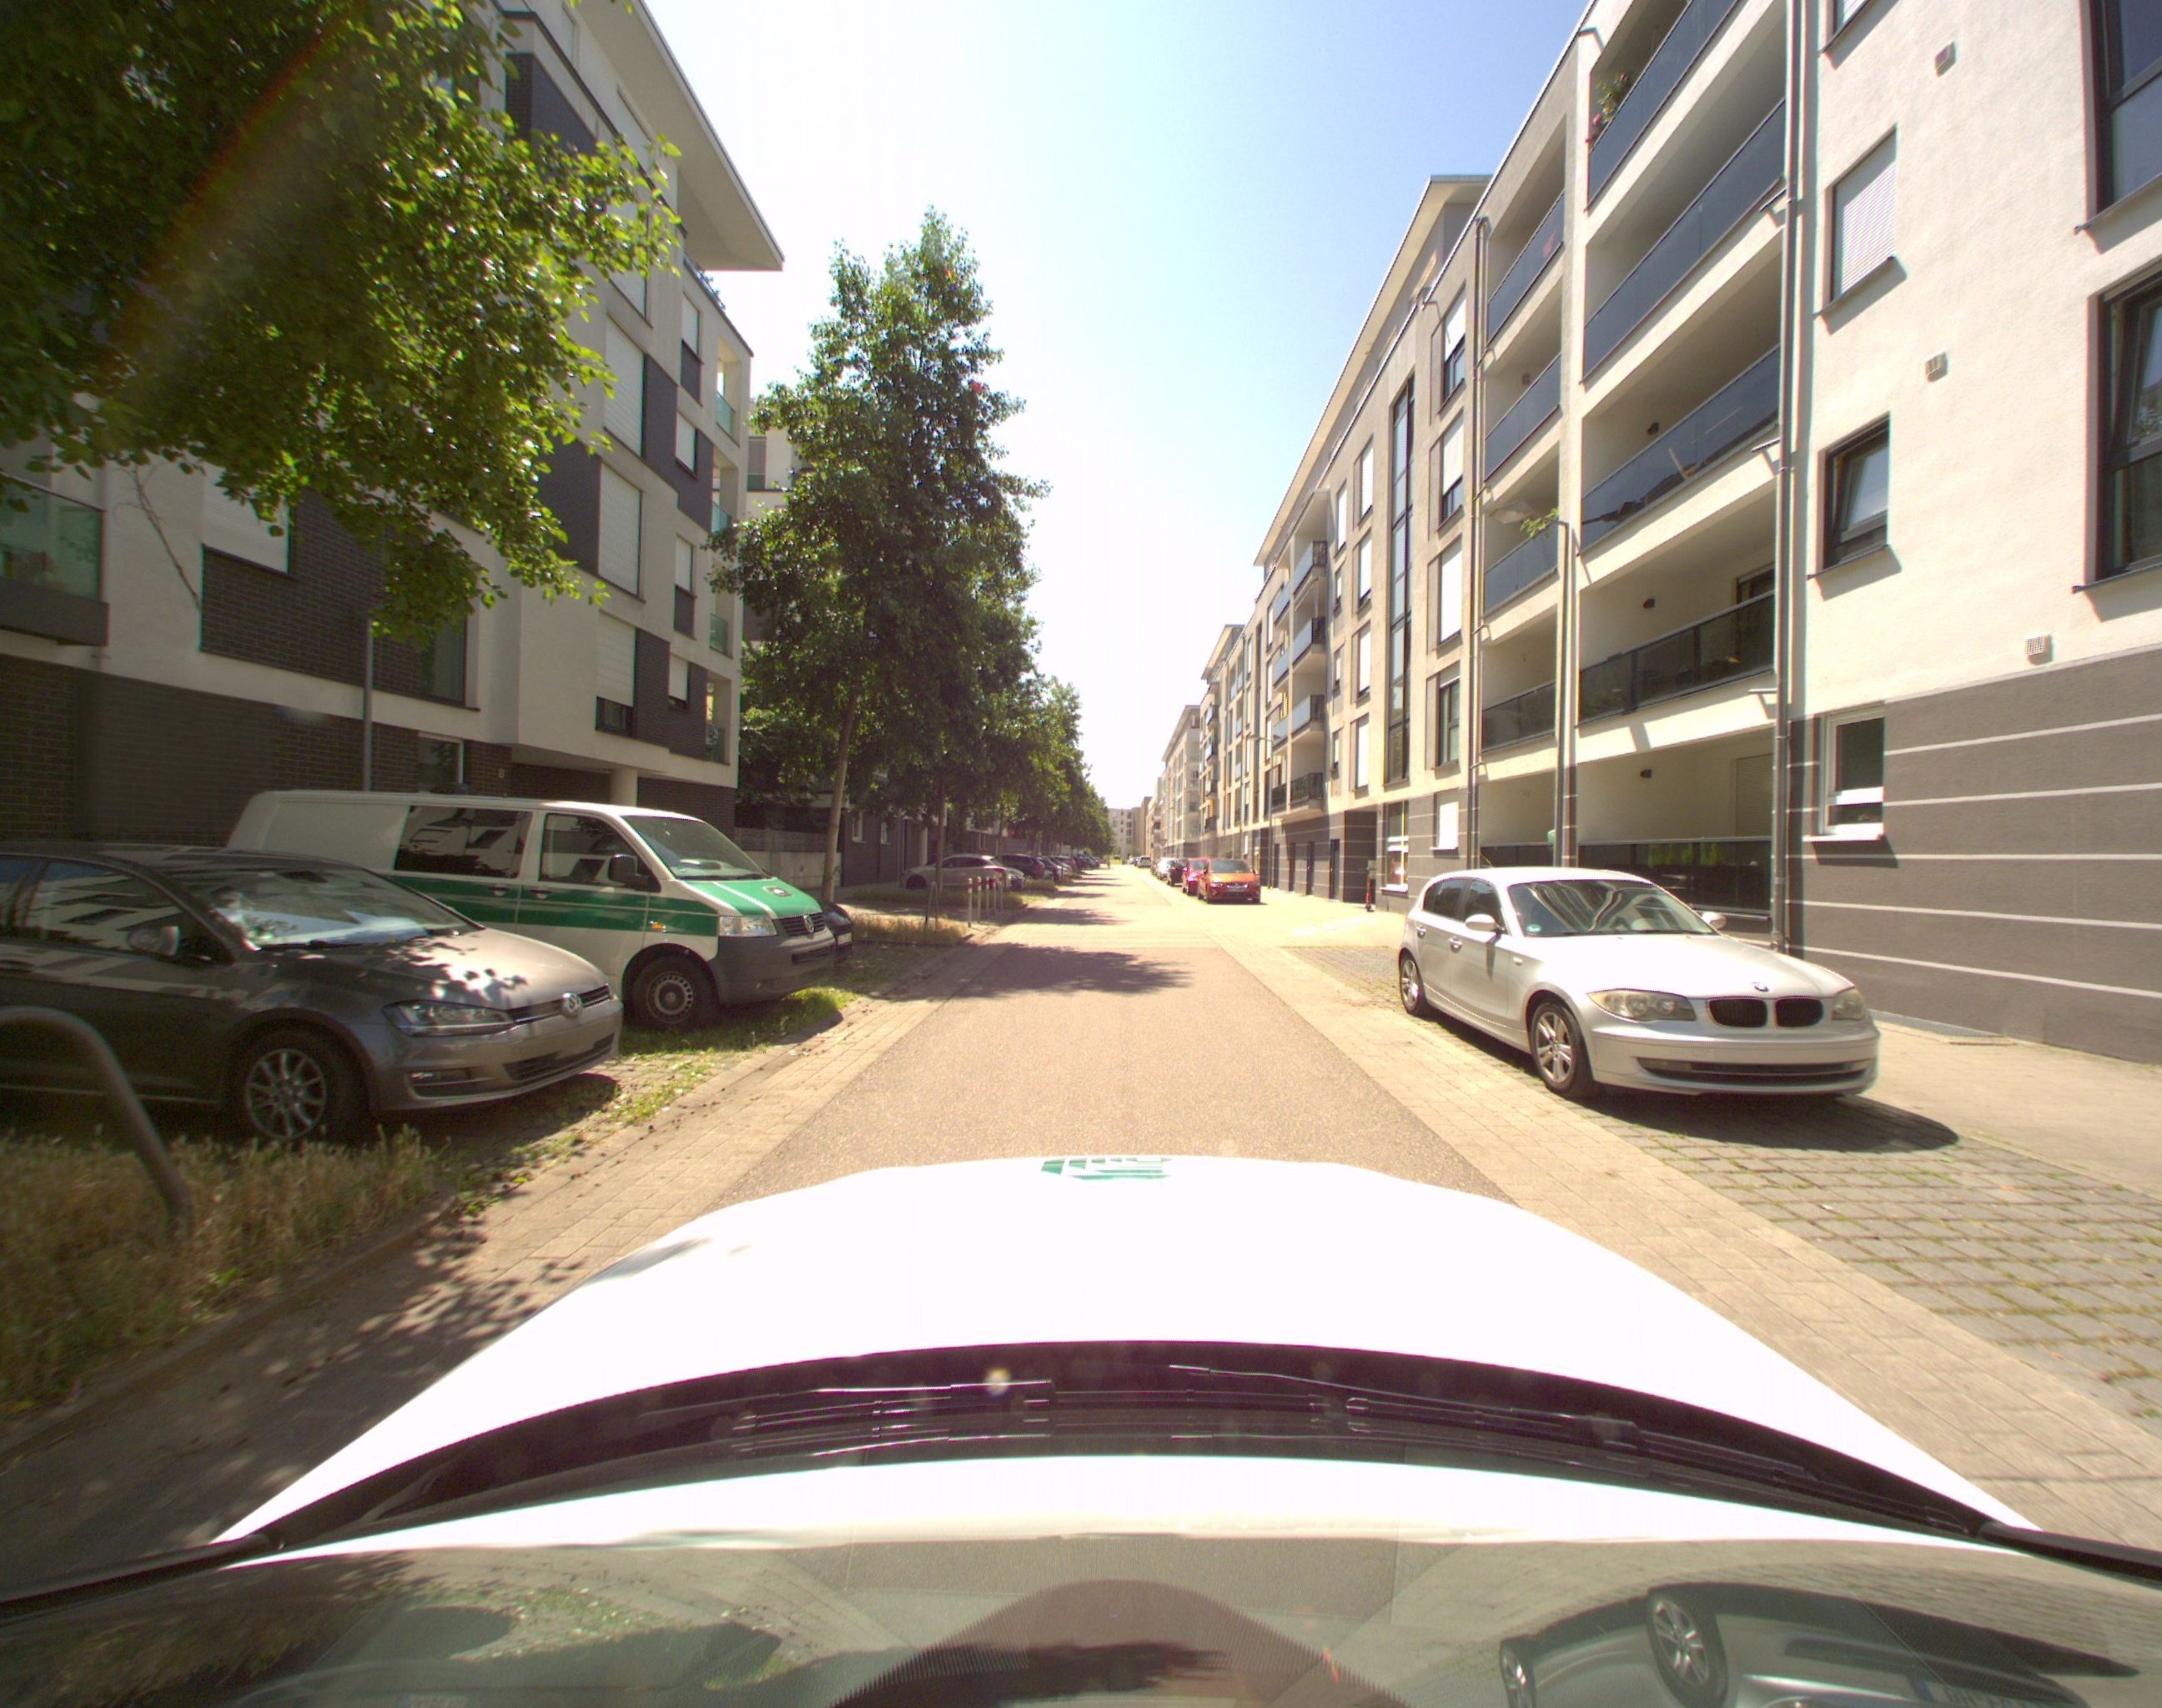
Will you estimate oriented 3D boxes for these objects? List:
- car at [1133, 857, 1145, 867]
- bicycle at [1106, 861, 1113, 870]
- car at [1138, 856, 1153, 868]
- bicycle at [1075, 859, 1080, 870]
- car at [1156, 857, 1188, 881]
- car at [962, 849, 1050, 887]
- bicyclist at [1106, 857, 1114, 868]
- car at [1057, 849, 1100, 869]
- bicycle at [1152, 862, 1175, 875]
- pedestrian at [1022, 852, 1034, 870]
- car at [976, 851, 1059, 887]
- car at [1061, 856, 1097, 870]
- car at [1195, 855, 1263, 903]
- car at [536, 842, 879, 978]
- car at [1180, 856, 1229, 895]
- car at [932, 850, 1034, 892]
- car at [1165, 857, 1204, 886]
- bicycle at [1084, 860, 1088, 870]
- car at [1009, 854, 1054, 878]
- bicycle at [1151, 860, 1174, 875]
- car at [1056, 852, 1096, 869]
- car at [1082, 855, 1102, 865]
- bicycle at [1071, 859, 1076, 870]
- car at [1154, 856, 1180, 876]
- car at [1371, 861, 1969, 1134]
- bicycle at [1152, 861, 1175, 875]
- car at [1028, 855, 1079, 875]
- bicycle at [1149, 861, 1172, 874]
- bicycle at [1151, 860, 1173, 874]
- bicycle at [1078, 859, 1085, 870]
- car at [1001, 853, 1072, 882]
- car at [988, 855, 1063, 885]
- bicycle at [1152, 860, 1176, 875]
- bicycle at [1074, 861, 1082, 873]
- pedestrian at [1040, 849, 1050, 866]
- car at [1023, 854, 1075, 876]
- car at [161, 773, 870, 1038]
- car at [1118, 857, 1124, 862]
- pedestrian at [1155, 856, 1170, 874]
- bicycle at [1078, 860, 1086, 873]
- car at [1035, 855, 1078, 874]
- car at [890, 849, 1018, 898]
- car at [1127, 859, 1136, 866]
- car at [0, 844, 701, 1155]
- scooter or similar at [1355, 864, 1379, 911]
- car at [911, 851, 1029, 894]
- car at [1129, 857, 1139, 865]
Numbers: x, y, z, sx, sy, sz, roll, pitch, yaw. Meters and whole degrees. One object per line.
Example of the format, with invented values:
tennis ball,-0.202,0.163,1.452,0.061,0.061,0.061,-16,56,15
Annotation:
car,9.294,1.275,130.274,1.749,1.552,4.006,1,0,6
bicycle,3.783,1.500,106.633,0.895,1.129,2.041,1,0,2
car,8.715,1.074,110.161,1.989,1.657,4.118,0,0,3
bicycle,-0.413,1.199,93.153,0.432,1.204,1.701,2,1,3
car,6.050,0.952,54.424,1.826,1.505,4.353,-1,0,3
car,-3.615,0.673,39.613,3.971,1.629,1.934,2,0,2
bicyclist,3.784,1.062,106.600,0.950,1.459,0.800,1,0,2
car,-0.273,0.726,115.913,6.000,2.816,2.606,0,0,2
bicycle,6.865,1.187,67.815,1.918,1.035,0.559,0,-1,-2
pedestrian,-5.094,0.677,78.092,0.995,1.690,0.833,0,-1,4
car,-3.252,0.752,42.129,3.969,1.651,1.920,2,0,4
car,-0.228,1.123,103.275,4.366,1.515,2.076,3,0,2
car,4.959,0.805,27.737,1.730,1.487,4.261,-1,0,3
car,-4.683,0.672,10.588,3.610,1.481,1.678,2,0,1
car,5.007,0.838,33.278,1.589,1.486,3.678,-1,0,3
car,-4.139,0.697,34.715,3.970,1.592,1.885,2,0,3
car,5.415,0.897,43.044,1.636,1.462,4.119,-1,0,2
bicycle,0.616,1.296,93.328,0.464,1.141,1.926,1,0,1
car,-3.446,0.797,57.232,2.922,1.500,1.849,3,0,1
bicycle,6.861,1.115,68.479,1.921,1.218,0.459,0,-1,-7
car,-0.654,0.904,110.487,5.125,2.119,2.313,2,0,2
car,2.436,1.238,174.727,3.964,2.014,2.005,1,0,9
bicycle,-0.864,1.184,93.422,0.517,1.204,1.752,2,1,1
car,6.612,0.931,62.734,1.732,1.485,4.232,0,0,3
car,3.934,0.779,6.576,1.838,1.416,4.430,1,0,3
bicycle,6.782,1.138,67.124,1.781,1.104,0.746,0,-1,-2
car,-2.250,0.903,67.260,4.169,1.486,1.957,2,-2,-1
bicycle,6.760,1.130,69.433,1.911,1.133,0.611,0,-1,11
bicycle,6.876,1.102,69.063,1.838,1.148,0.458,0,-1,-17
bicycle,0.018,1.235,93.131,0.569,1.174,1.766,4,1,-4
car,-2.797,0.840,51.784,4.346,1.710,2.000,-1,0,0
car,-3.021,0.868,44.767,3.963,1.445,1.774,2,-1,-2
bicycle,6.758,1.100,66.377,1.864,1.218,0.715,0,-1,-2
bicycle,-0.271,1.178,74.606,0.434,1.128,1.972,0,0,-9
pedestrian,-4.272,0.390,96.479,1.004,2.014,1.131,0,-1,5
car,-2.478,0.857,64.369,3.922,1.553,1.873,2,0,2
car,-5.020,0.400,7.807,5.318,2.111,2.190,0,0,4
car,12.947,1.694,262.373,1.986,1.519,4.001,1,0,1
pedestrian,6.869,0.924,68.608,1.177,1.515,0.686,0,-1,-8
bicycle,0.090,1.153,74.622,0.371,1.180,1.815,0,0,-9
car,-2.121,0.889,72.180,3.616,1.520,1.833,2,0,2
car,-4.550,0.688,29.716,4.236,1.517,1.925,3,0,2
car,12.746,2.059,206.021,1.986,1.717,4.001,1,0,1
car,-5.013,0.701,4.959,4.405,1.490,2.000,1,0,0
scooter or similar,8.010,0.916,22.826,0.541,1.225,1.536,1,0,17
car,-4.313,0.725,32.157,4.300,1.476,1.794,2,0,2
car,11.636,1.512,178.804,1.986,1.675,4.001,1,0,1
